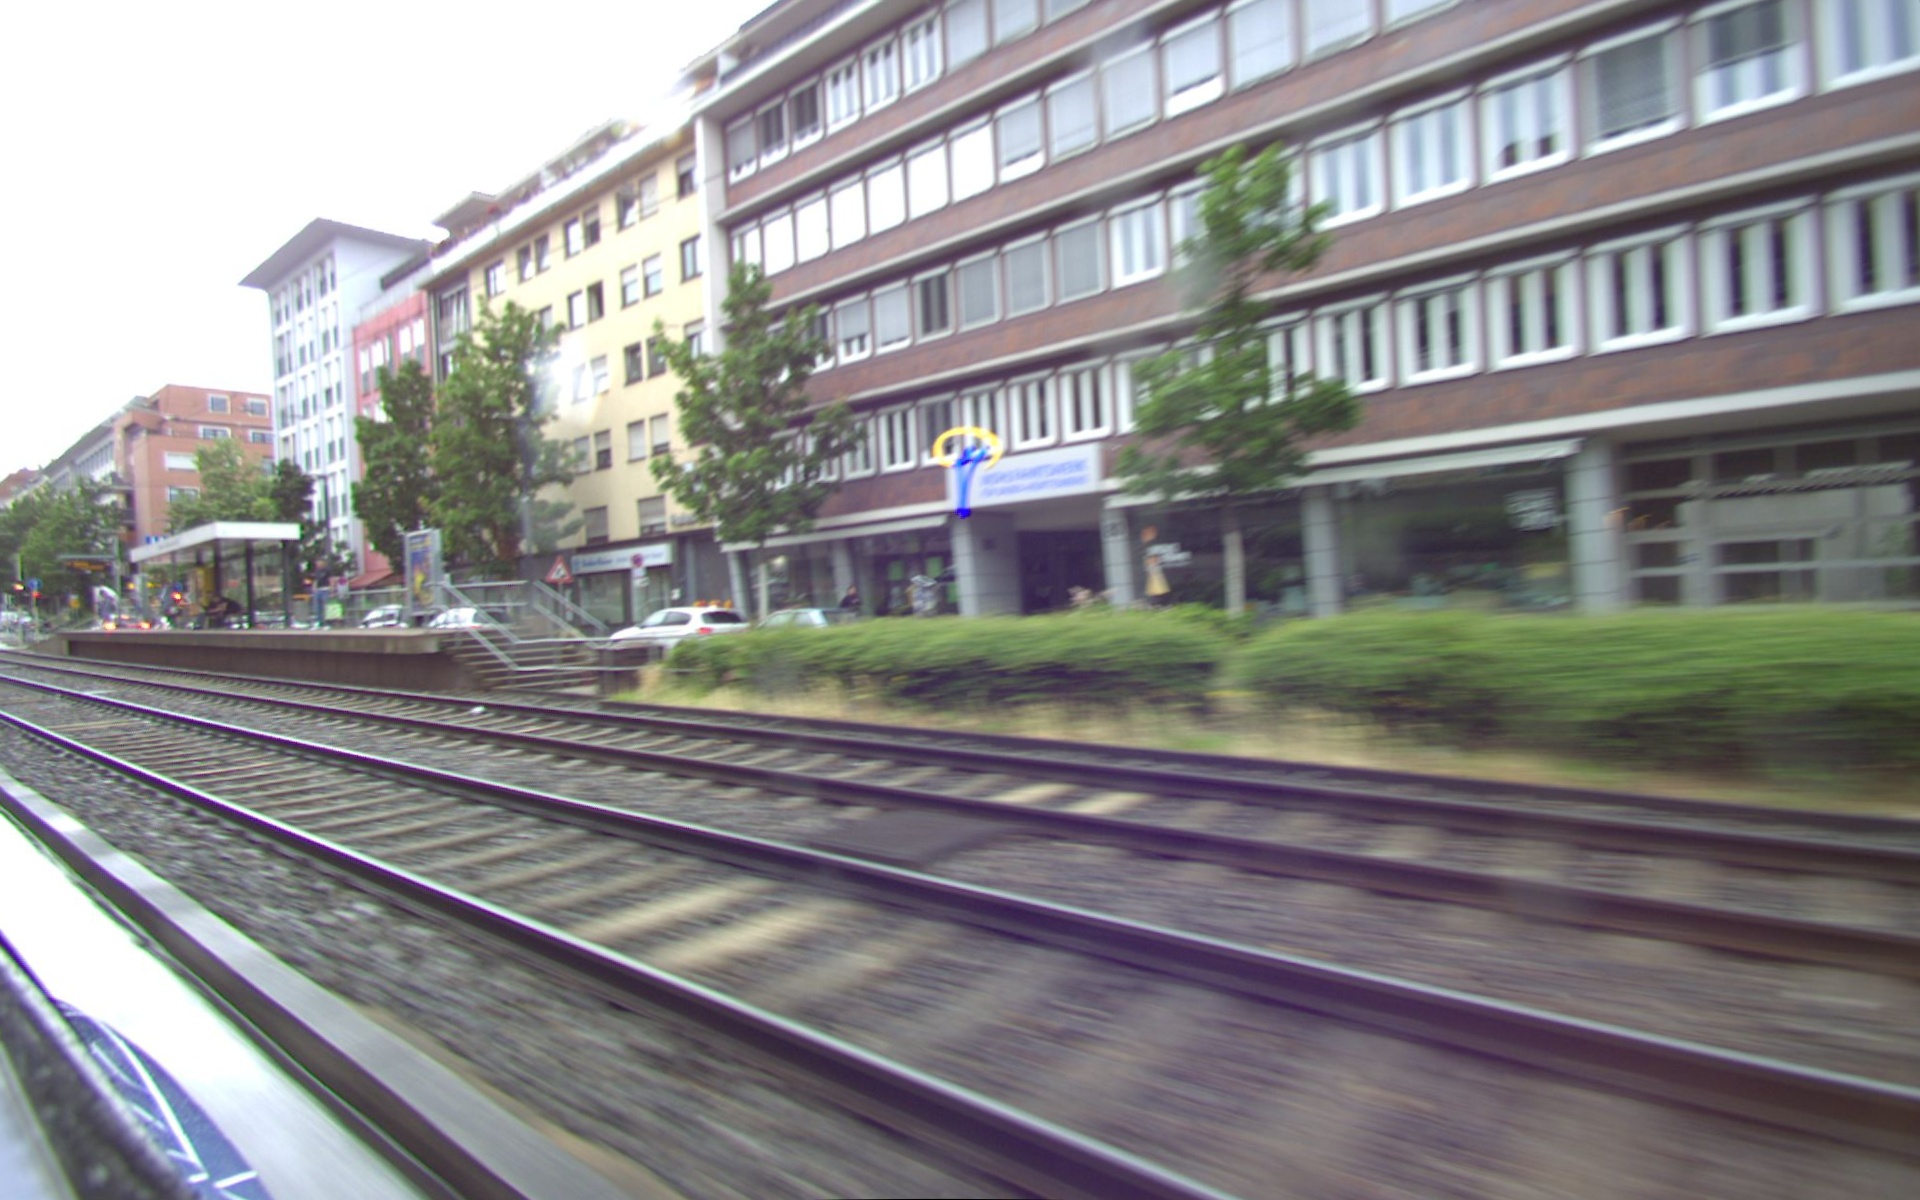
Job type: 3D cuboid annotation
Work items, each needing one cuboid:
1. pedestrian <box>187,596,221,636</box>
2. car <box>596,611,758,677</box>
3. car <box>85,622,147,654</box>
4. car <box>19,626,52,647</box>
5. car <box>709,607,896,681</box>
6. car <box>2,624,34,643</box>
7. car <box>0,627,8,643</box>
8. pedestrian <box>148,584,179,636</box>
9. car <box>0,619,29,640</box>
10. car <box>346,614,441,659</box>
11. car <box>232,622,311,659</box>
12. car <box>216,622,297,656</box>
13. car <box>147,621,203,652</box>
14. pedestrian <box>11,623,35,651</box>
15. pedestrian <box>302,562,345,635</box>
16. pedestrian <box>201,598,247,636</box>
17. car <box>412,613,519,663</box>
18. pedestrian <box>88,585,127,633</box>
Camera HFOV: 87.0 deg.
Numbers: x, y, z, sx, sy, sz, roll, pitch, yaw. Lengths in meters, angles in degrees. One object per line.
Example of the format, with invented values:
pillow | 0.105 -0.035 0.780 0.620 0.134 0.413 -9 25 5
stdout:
pedestrian | -24.815 0.523 33.220 0.883 1.258 0.686 -2 -1 38
car | -6.900 1.026 24.455 4.232 1.447 1.553 -2 -1 38
car | -44.724 1.985 53.576 5.018 1.590 1.788 -2 -1 41
car | -79.543 3.110 87.034 4.369 1.636 1.622 -1 0 41
car | -3.471 0.917 21.904 4.171 1.447 1.553 -2 -1 38
car | -84.586 3.007 90.865 4.369 1.548 1.622 -1 0 41
car | -96.186 3.490 100.576 4.524 1.473 1.676 -1 0 38
pedestrian | -26.939 0.349 34.232 0.849 1.724 0.649 -2 -1 38
car | -89.212 2.720 94.895 5.248 1.858 1.890 -1 0 37
car | -19.767 1.255 35.286 3.730 1.447 1.553 -2 -1 38
car | -28.614 1.657 42.012 3.973 1.447 1.553 -2 -1 38
car | -32.015 1.755 46.017 4.313 1.447 1.823 -2 -1 38
car | -43.635 2.040 56.216 4.551 1.624 1.708 -2 -1 42
pedestrian | -58.673 2.317 63.369 0.983 1.710 0.813 -1 1 32
pedestrian | -16.239 -0.035 25.823 0.849 1.815 0.649 -2 -1 38
pedestrian | -23.045 0.527 31.700 0.846 1.132 0.886 -2 -1 30
car | -15.644 1.179 31.974 3.730 1.447 1.553 -2 -1 38
pedestrian | -37.215 0.398 44.186 1.382 2.029 1.104 -1 0 40
